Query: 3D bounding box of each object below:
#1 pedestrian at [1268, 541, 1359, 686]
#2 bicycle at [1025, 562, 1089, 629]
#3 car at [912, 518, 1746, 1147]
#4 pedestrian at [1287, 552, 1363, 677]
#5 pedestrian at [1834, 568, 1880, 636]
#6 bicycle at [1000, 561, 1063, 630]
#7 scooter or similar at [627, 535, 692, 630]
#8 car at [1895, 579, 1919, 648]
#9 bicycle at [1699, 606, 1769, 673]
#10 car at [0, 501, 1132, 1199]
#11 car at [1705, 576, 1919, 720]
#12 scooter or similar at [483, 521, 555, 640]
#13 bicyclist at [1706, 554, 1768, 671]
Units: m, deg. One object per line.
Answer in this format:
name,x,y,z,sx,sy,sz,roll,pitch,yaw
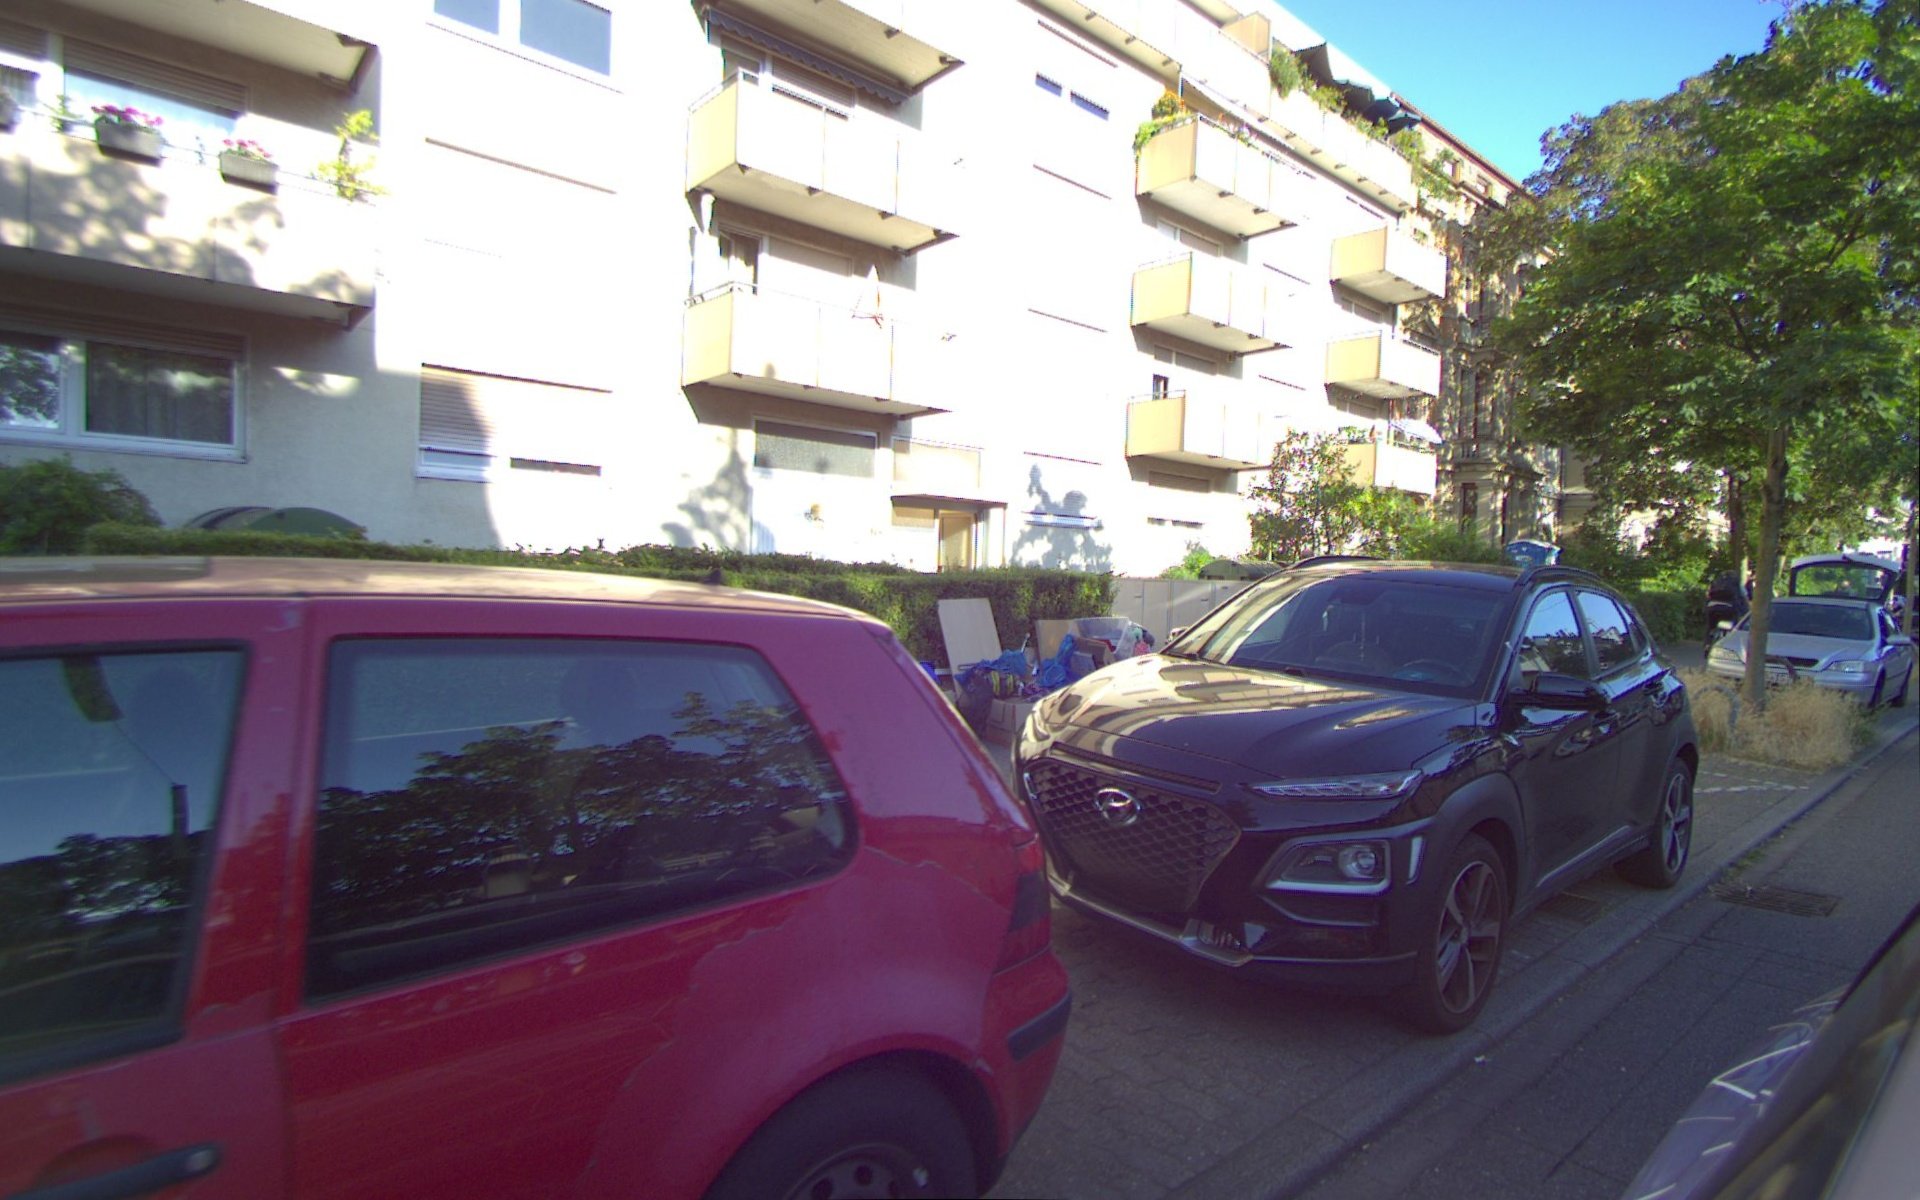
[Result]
pedestrian,4.196,0.150,12.066,0.742,1.660,0.697,2,2,-4
bicycle,1.773,-0.114,18.840,0.507,1.154,2.210,1,2,-12
car,1.919,0.542,4.608,3.944,1.600,1.860,0,4,-42
pedestrian,4.709,0.170,13.087,0.682,1.559,0.594,2,2,-4
pedestrian,24.501,0.030,27.632,0.821,1.795,1.072,3,2,45
bicycle,1.275,-0.113,18.488,0.507,1.154,2.210,1,2,-12
scooter or similar,-4.206,-0.250,14.169,0.657,1.288,0.616,0,2,-41
car,24.813,0.375,25.123,4.237,1.622,1.860,0,5,-42
bicycle,12.453,0.611,16.259,1.799,0.999,0.517,0,2,-41
car,-1.747,0.582,1.453,3.941,1.467,1.708,0,4,-39
car,11.387,0.513,13.261,4.195,1.498,1.712,0,5,-42
scooter or similar,-5.600,-0.253,12.845,0.657,1.459,0.616,0,2,-41
bicyclist,12.465,0.182,16.239,0.837,1.811,0.582,0,2,-41
